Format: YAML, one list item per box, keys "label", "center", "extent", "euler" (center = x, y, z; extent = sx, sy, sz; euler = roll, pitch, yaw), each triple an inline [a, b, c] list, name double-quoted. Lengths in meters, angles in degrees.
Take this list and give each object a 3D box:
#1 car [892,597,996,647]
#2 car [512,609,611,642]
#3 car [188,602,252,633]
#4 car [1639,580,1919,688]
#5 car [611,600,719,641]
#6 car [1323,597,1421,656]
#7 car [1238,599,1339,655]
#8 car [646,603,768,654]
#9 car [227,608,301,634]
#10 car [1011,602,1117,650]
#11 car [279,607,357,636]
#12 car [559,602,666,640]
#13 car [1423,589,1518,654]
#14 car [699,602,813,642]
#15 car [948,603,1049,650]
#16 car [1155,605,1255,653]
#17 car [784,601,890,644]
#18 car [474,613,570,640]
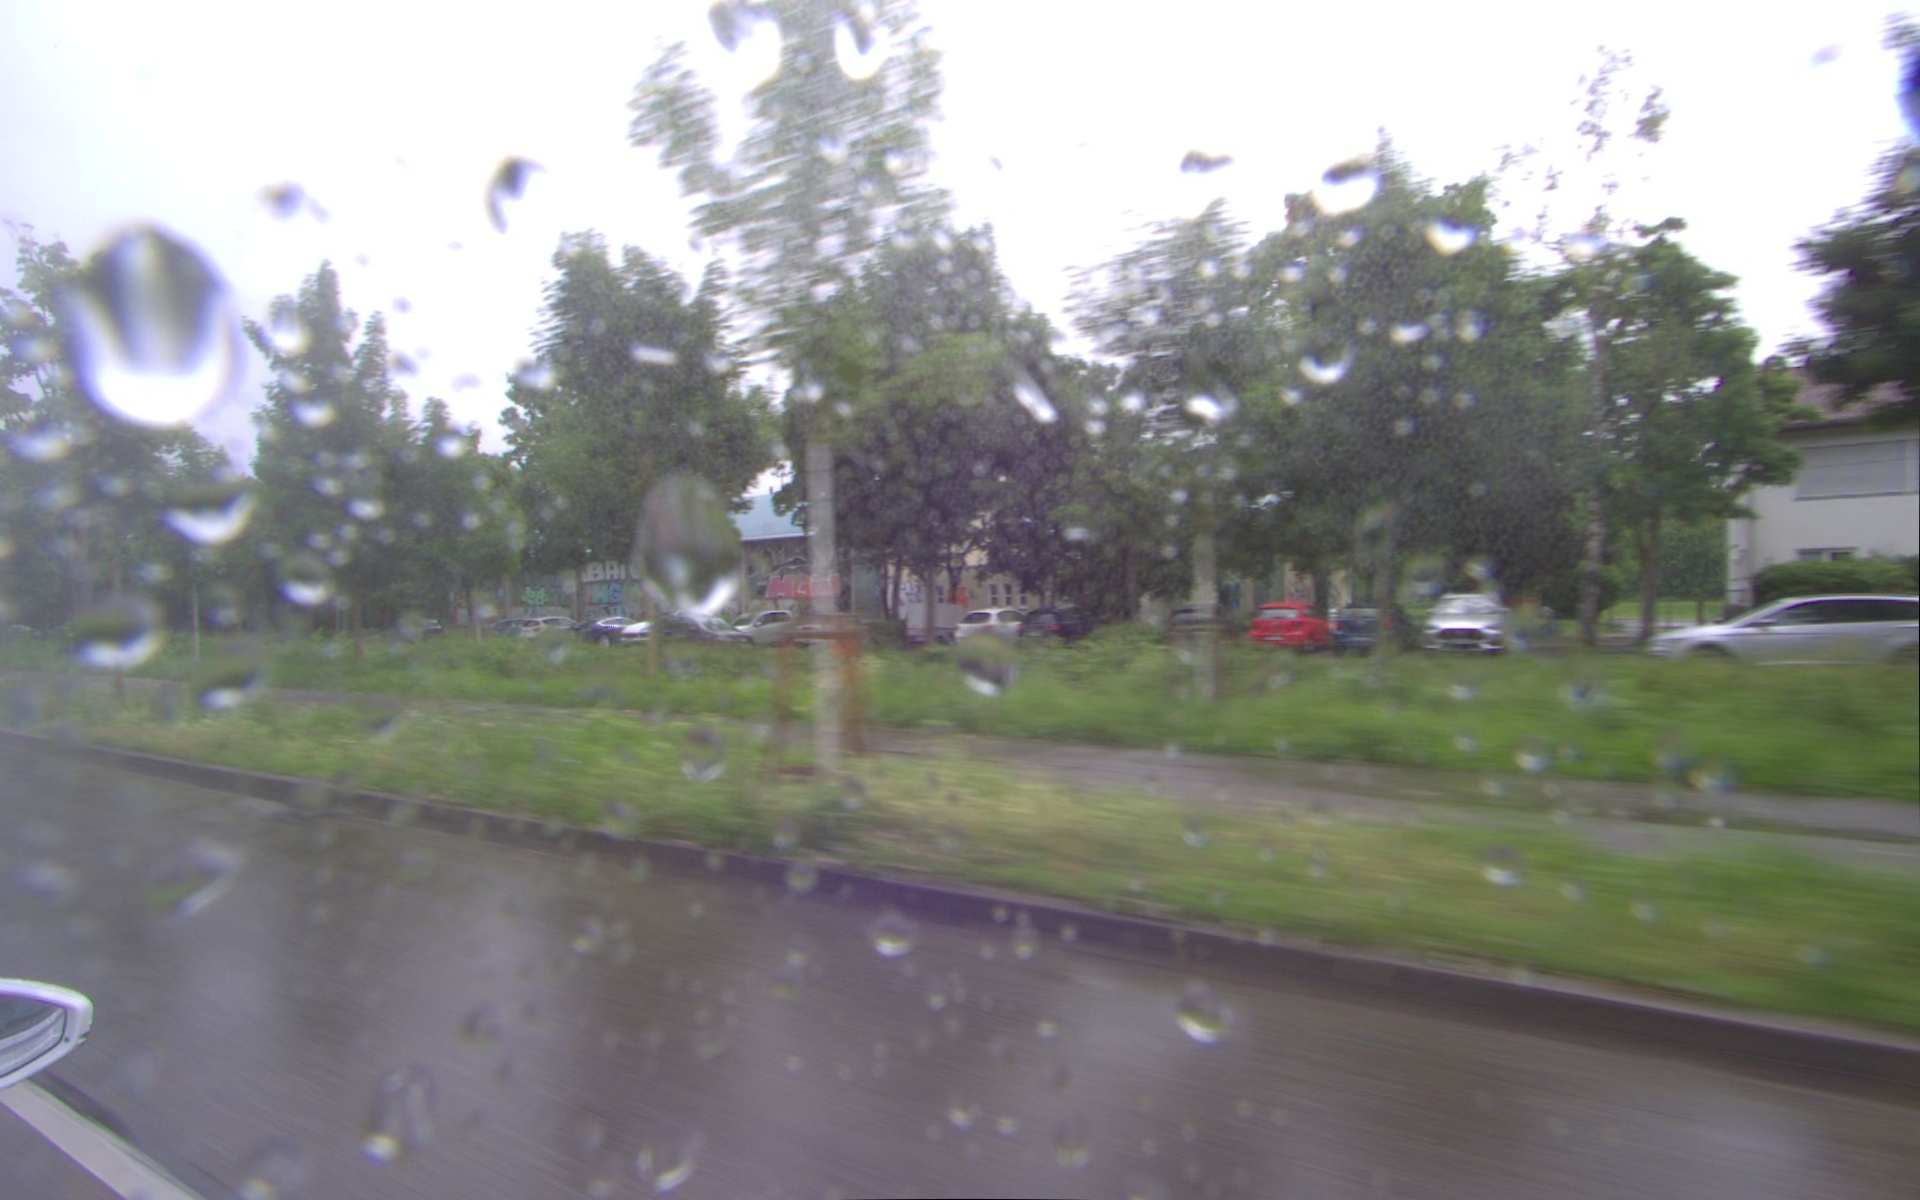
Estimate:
- label: "car"
  center: [-0.525, 0.847, 37.402]
  extent: [1.917, 1.746, 4.329]
  euler: [-1, -2, 31]
- label: "car"
  center: [-20.205, 1.323, 50.971]
  extent: [1.835, 1.566, 4.567]
  euler: [-1, -2, 29]
- label: "car"
  center: [-57.795, 1.384, 78.238]
  extent: [1.567, 2.353, 3.712]
  euler: [-1, -2, 35]
- label: "car"
  center: [14.140, 0.526, 16.761]
  extent: [4.579, 1.647, 1.987]
  euler: [-1, 0, 35]
- label: "car"
  center: [-13.176, 0.957, 44.940]
  extent: [1.971, 1.727, 4.564]
  euler: [-1, -2, 31]
- label: "car"
  center: [11.574, 0.759, 27.985]
  extent: [1.917, 1.503, 4.329]
  euler: [-1, -2, 31]
- label: "car"
  center: [9.697, 0.800, 29.324]
  extent: [1.917, 1.503, 4.329]
  euler: [-1, -2, 31]
- label: "car"
  center: [-8.282, 0.874, 32.677]
  extent: [4.068, 1.465, 1.738]
  euler: [1, 2, 37]
- label: "car"
  center: [-50.023, 1.550, 72.005]
  extent: [1.871, 1.843, 3.945]
  euler: [-1, -2, 35]
- label: "car"
  center: [3.497, 0.874, 33.013]
  extent: [1.765, 1.478, 4.122]
  euler: [-1, -2, 34]
- label: "car"
  center: [-42.328, 1.435, 66.114]
  extent: [1.871, 1.843, 3.945]
  euler: [-1, -2, 35]
- label: "car"
  center: [-15.991, 1.011, 46.335]
  extent: [1.970, 1.665, 4.567]
  euler: [-1, -2, 29]
- label: "car"
  center: [13.235, 0.593, 25.837]
  extent: [1.896, 1.522, 4.329]
  euler: [-1, -2, 31]
- label: "car"
  center: [-8.422, 0.947, 41.670]
  extent: [1.921, 1.577, 4.554]
  euler: [-1, -2, 38]
- label: "car"
  center: [1.412, 0.942, 34.842]
  extent: [1.735, 1.503, 4.183]
  euler: [-1, -2, 31]
- label: "car"
  center: [7.531, 0.907, 30.547]
  extent: [1.840, 1.357, 4.174]
  euler: [-1, -2, 31]
- label: "car"
  center: [-4.747, 0.927, 39.321]
  extent: [1.917, 1.577, 4.329]
  euler: [-1, -2, 31]
- label: "car"
  center: [-22.576, 1.393, 51.775]
  extent: [1.810, 1.351, 4.395]
  euler: [-1, -2, 29]
